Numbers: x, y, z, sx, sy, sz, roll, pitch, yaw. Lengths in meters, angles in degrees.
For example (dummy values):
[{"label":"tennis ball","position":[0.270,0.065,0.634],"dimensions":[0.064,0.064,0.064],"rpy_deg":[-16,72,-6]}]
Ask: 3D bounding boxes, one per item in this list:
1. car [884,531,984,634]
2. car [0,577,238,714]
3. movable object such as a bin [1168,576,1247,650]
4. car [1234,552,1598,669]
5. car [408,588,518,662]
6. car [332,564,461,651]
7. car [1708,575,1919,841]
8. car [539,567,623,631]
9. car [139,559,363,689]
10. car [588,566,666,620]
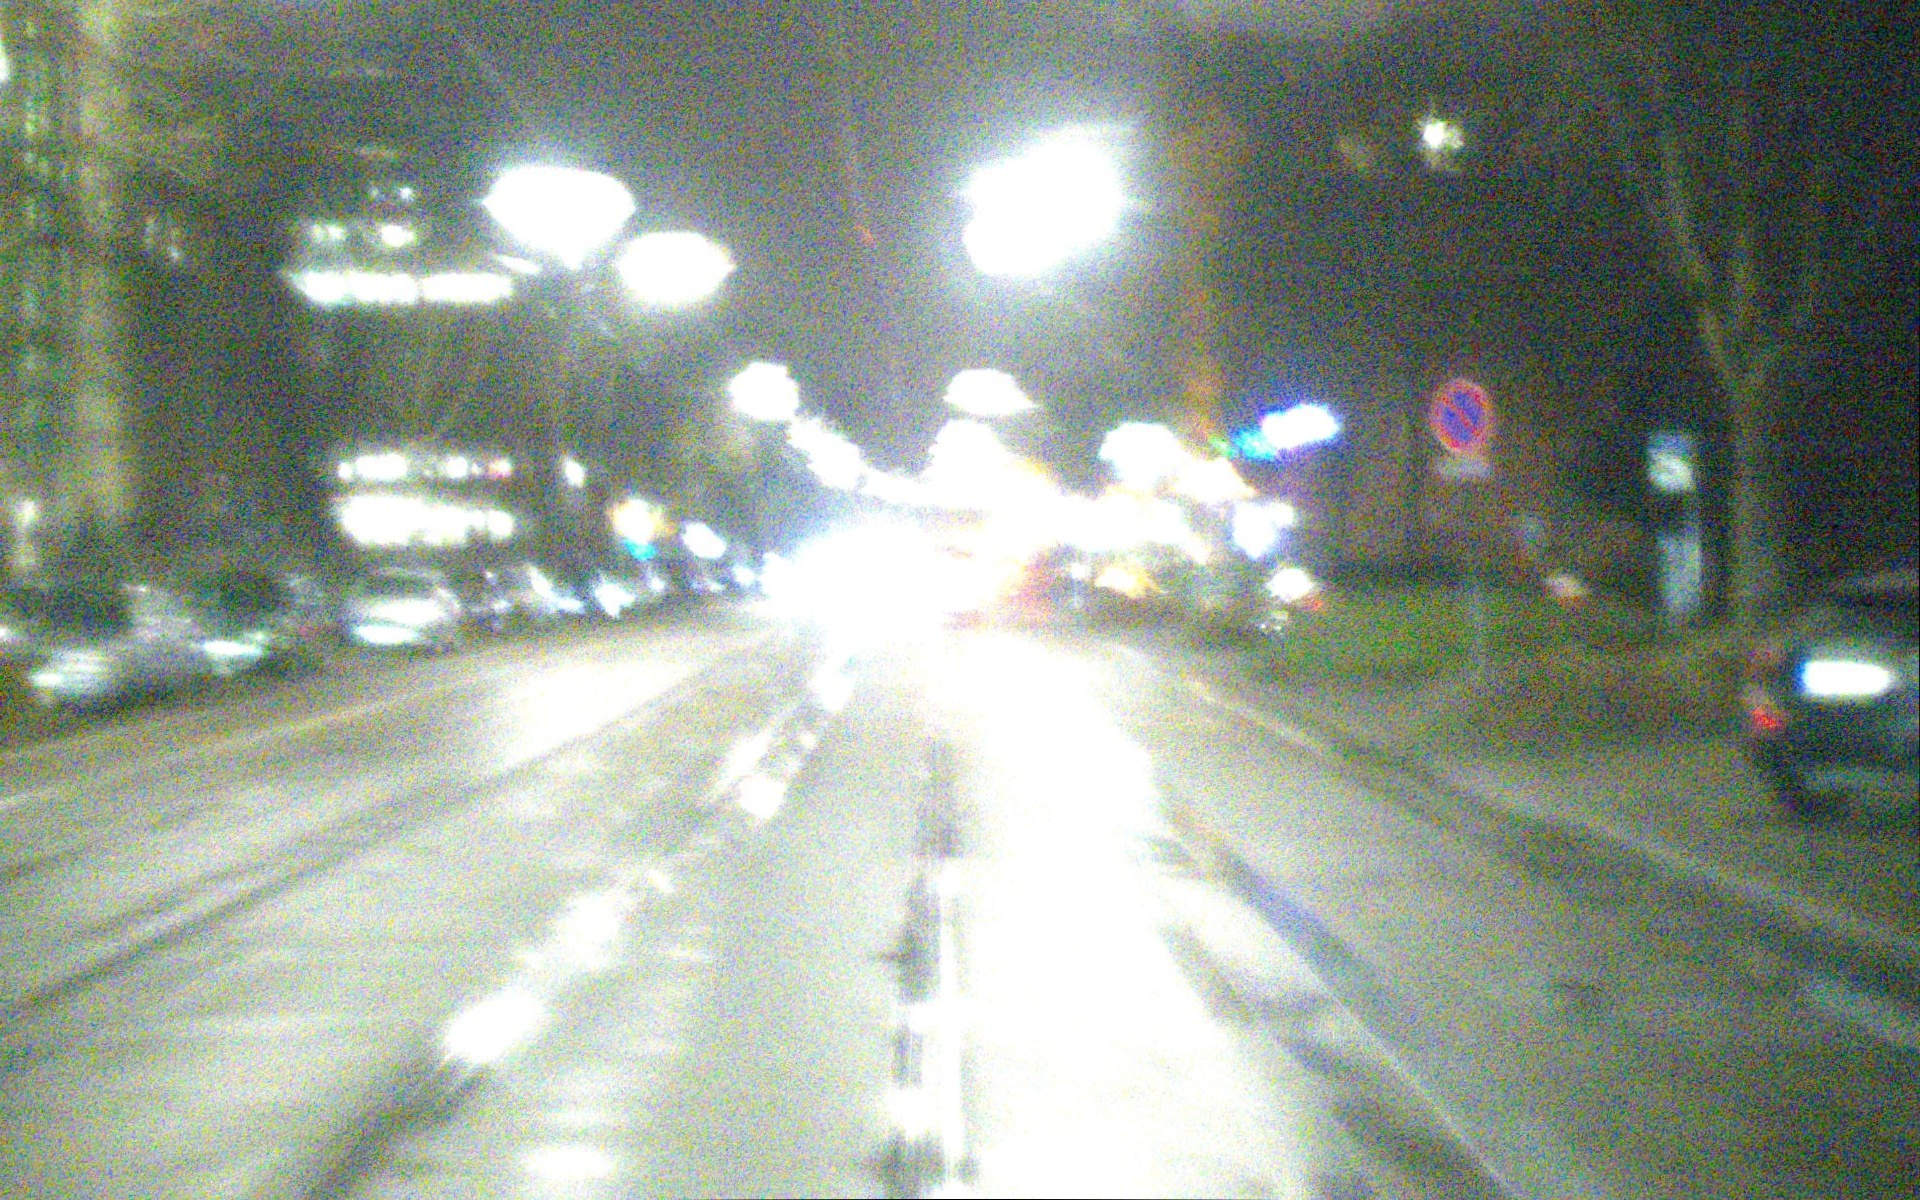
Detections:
[{"label":"car","position":[-0.640,-0.412,81.371],"dimensions":[2.244,2.353,4.394],"rpy_deg":[1,0,-2]},{"label":"car","position":[-9.462,0.470,38.639],"dimensions":[1.731,1.433,4.626],"rpy_deg":[1,0,0]},{"label":"movable object such as a bin","position":[4.836,0.257,67.196],"dimensions":[1.321,1.403,1.160],"rpy_deg":[-1,0,-6]},{"label":"car","position":[6.229,0.122,46.971],"dimensions":[4.584,1.470,1.840],"rpy_deg":[-1,1,-20]},{"label":"car","position":[-9.915,0.471,68.826],"dimensions":[1.839,1.418,4.210],"rpy_deg":[0,0,-3]},{"label":"car","position":[-9.668,0.110,59.275],"dimensions":[1.773,1.435,4.609],"rpy_deg":[0,0,-4]},{"label":"car","position":[6.594,0.586,20.813],"dimensions":[4.328,1.463,1.681],"rpy_deg":[0,0,-39]},{"label":"car","position":[-10.052,-0.032,91.399],"dimensions":[1.880,1.540,4.400],"rpy_deg":[4,0,-3]},{"label":"car","position":[-9.756,0.310,47.678],"dimensions":[2.143,1.614,4.589],"rpy_deg":[3,0,-1]},{"label":"car","position":[-10.155,-0.215,105.182],"dimensions":[1.983,1.625,4.517],"rpy_deg":[1,0,-1]}]
